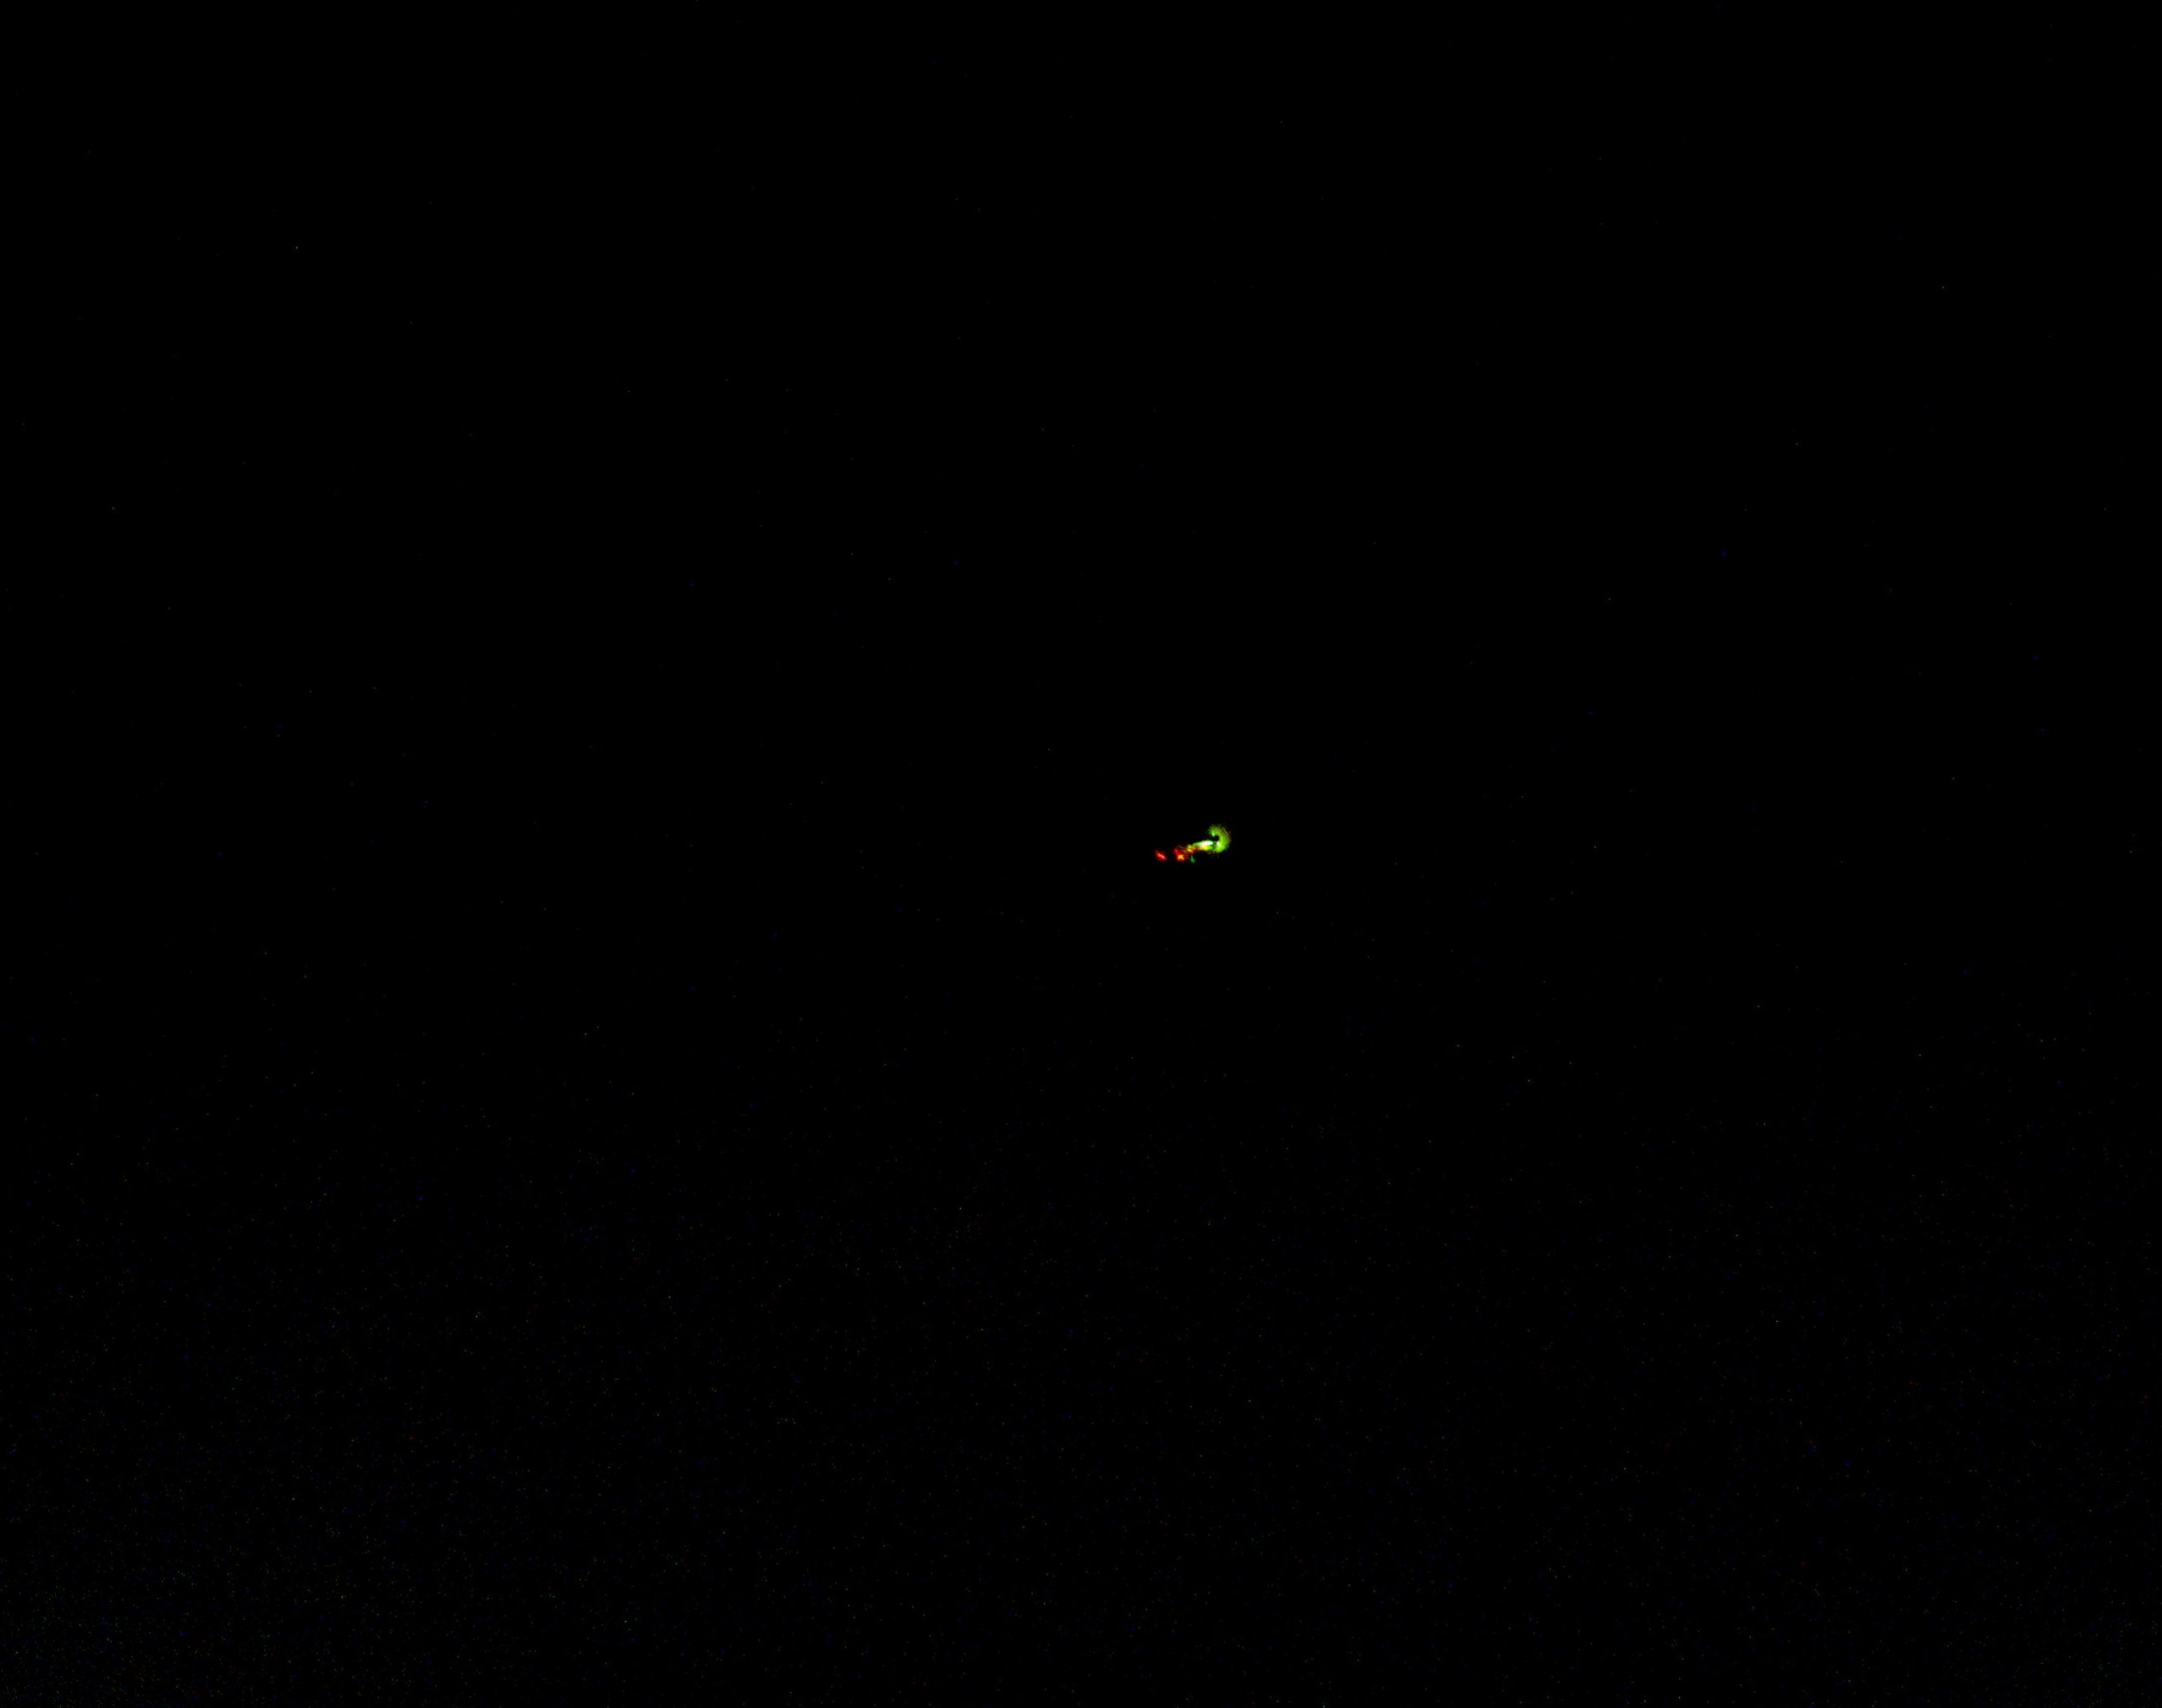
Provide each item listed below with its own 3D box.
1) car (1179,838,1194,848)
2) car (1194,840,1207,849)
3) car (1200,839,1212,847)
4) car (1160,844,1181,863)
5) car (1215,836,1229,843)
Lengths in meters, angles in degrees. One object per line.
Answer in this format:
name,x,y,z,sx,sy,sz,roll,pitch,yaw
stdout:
car,16.483,-1.720,118.083,1.774,1.381,4.236,-1,1,15
car,21.044,-1.643,134.061,1.774,1.381,4.236,-1,1,16
car,23.559,-2.058,143.266,1.773,1.381,4.116,-1,1,16
car,8.966,-0.110,76.318,1.864,1.737,4.963,-2,1,5
car,30.004,-3.060,161.509,1.773,1.475,4.387,-1,2,24
